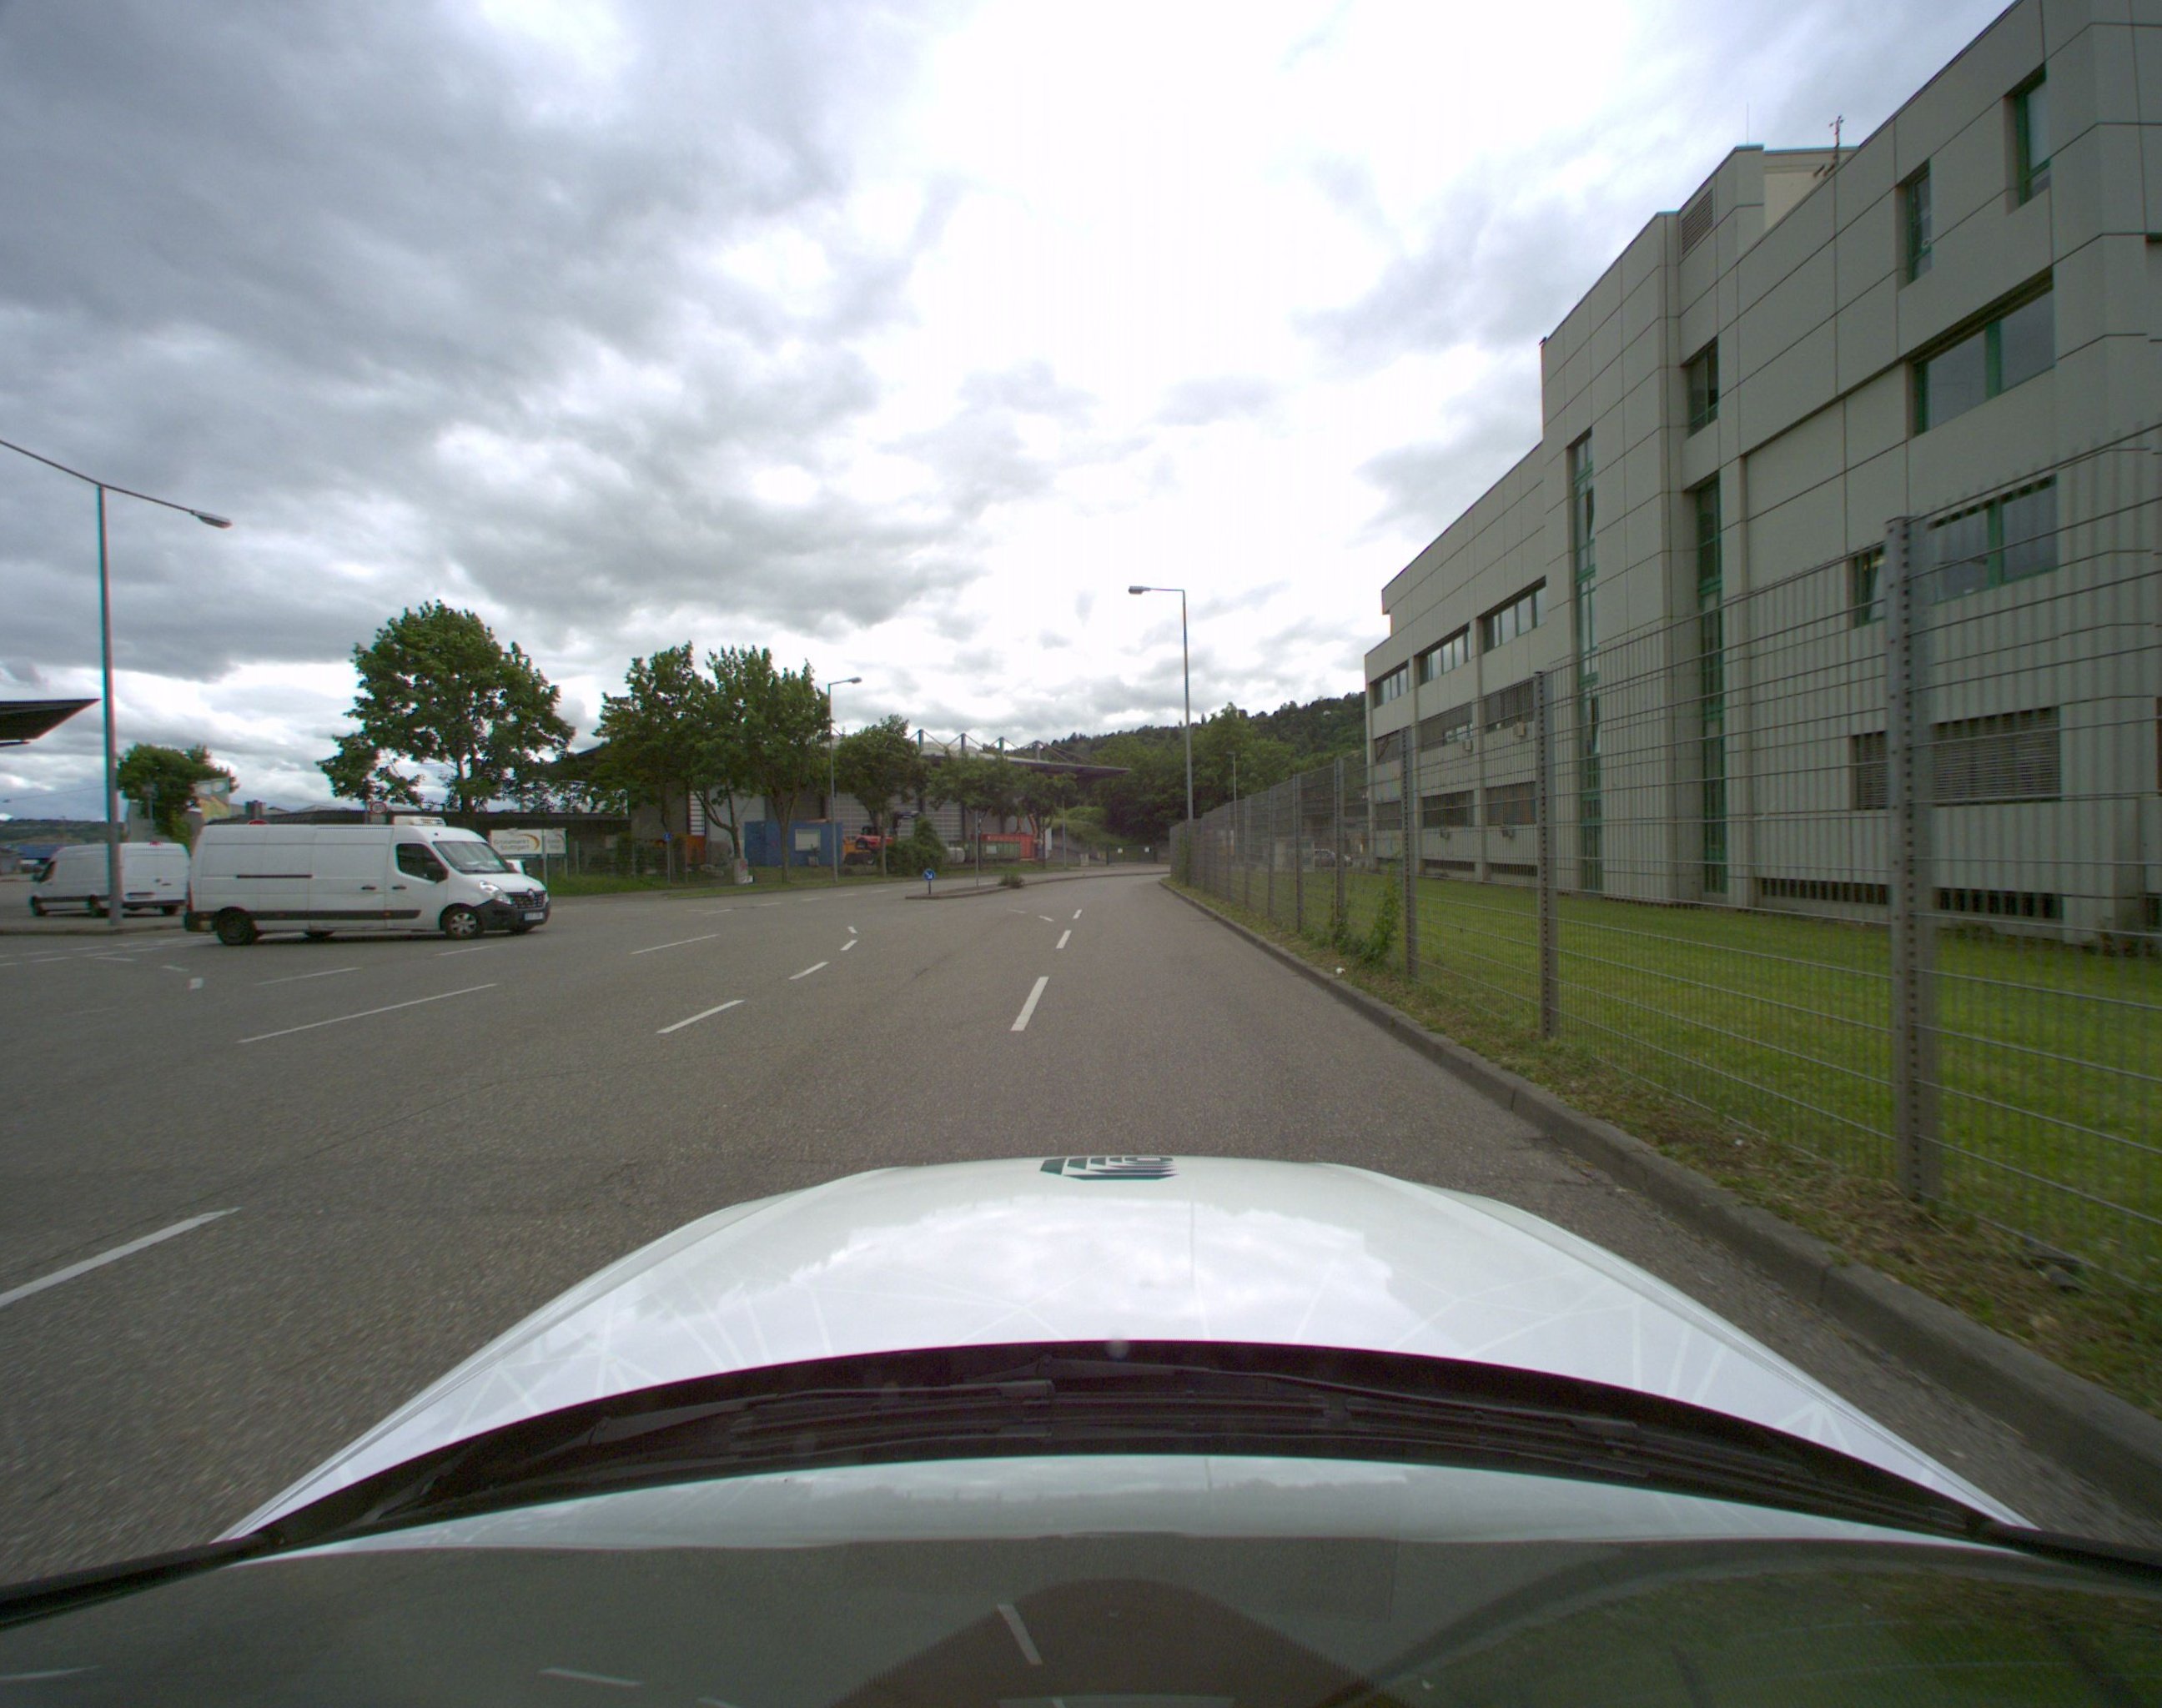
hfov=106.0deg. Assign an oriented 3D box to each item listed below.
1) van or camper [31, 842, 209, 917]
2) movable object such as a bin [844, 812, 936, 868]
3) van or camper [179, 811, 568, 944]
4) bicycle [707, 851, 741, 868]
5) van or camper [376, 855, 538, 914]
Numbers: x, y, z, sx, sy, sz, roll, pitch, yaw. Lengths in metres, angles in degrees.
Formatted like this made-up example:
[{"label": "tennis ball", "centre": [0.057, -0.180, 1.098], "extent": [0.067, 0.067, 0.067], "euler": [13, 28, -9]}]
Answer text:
[{"label": "van or camper", "centre": [-35.541, 0.849, 30.114], "extent": [6.498, 2.556, 2.344], "euler": [0, 1, 23]}, {"label": "movable object such as a bin", "centre": [-14.637, -1.096, 62.746], "extent": [2.698, 4.091, 6.595], "euler": [-2, 0, 36]}, {"label": "van or camper", "centre": [-14.745, 0.436, 17.335], "extent": [6.074, 2.556, 2.271], "euler": [-1, 1, -3]}, {"label": "bicycle", "centre": [-21.986, 0.322, 50.183], "extent": [0.654, 0.974, 1.772], "euler": [-2, 0, 35]}, {"label": "van or camper", "centre": [-22.816, 1.067, 29.984], "extent": [4.272, 1.963, 1.947], "euler": [-1, 1, -17]}]
